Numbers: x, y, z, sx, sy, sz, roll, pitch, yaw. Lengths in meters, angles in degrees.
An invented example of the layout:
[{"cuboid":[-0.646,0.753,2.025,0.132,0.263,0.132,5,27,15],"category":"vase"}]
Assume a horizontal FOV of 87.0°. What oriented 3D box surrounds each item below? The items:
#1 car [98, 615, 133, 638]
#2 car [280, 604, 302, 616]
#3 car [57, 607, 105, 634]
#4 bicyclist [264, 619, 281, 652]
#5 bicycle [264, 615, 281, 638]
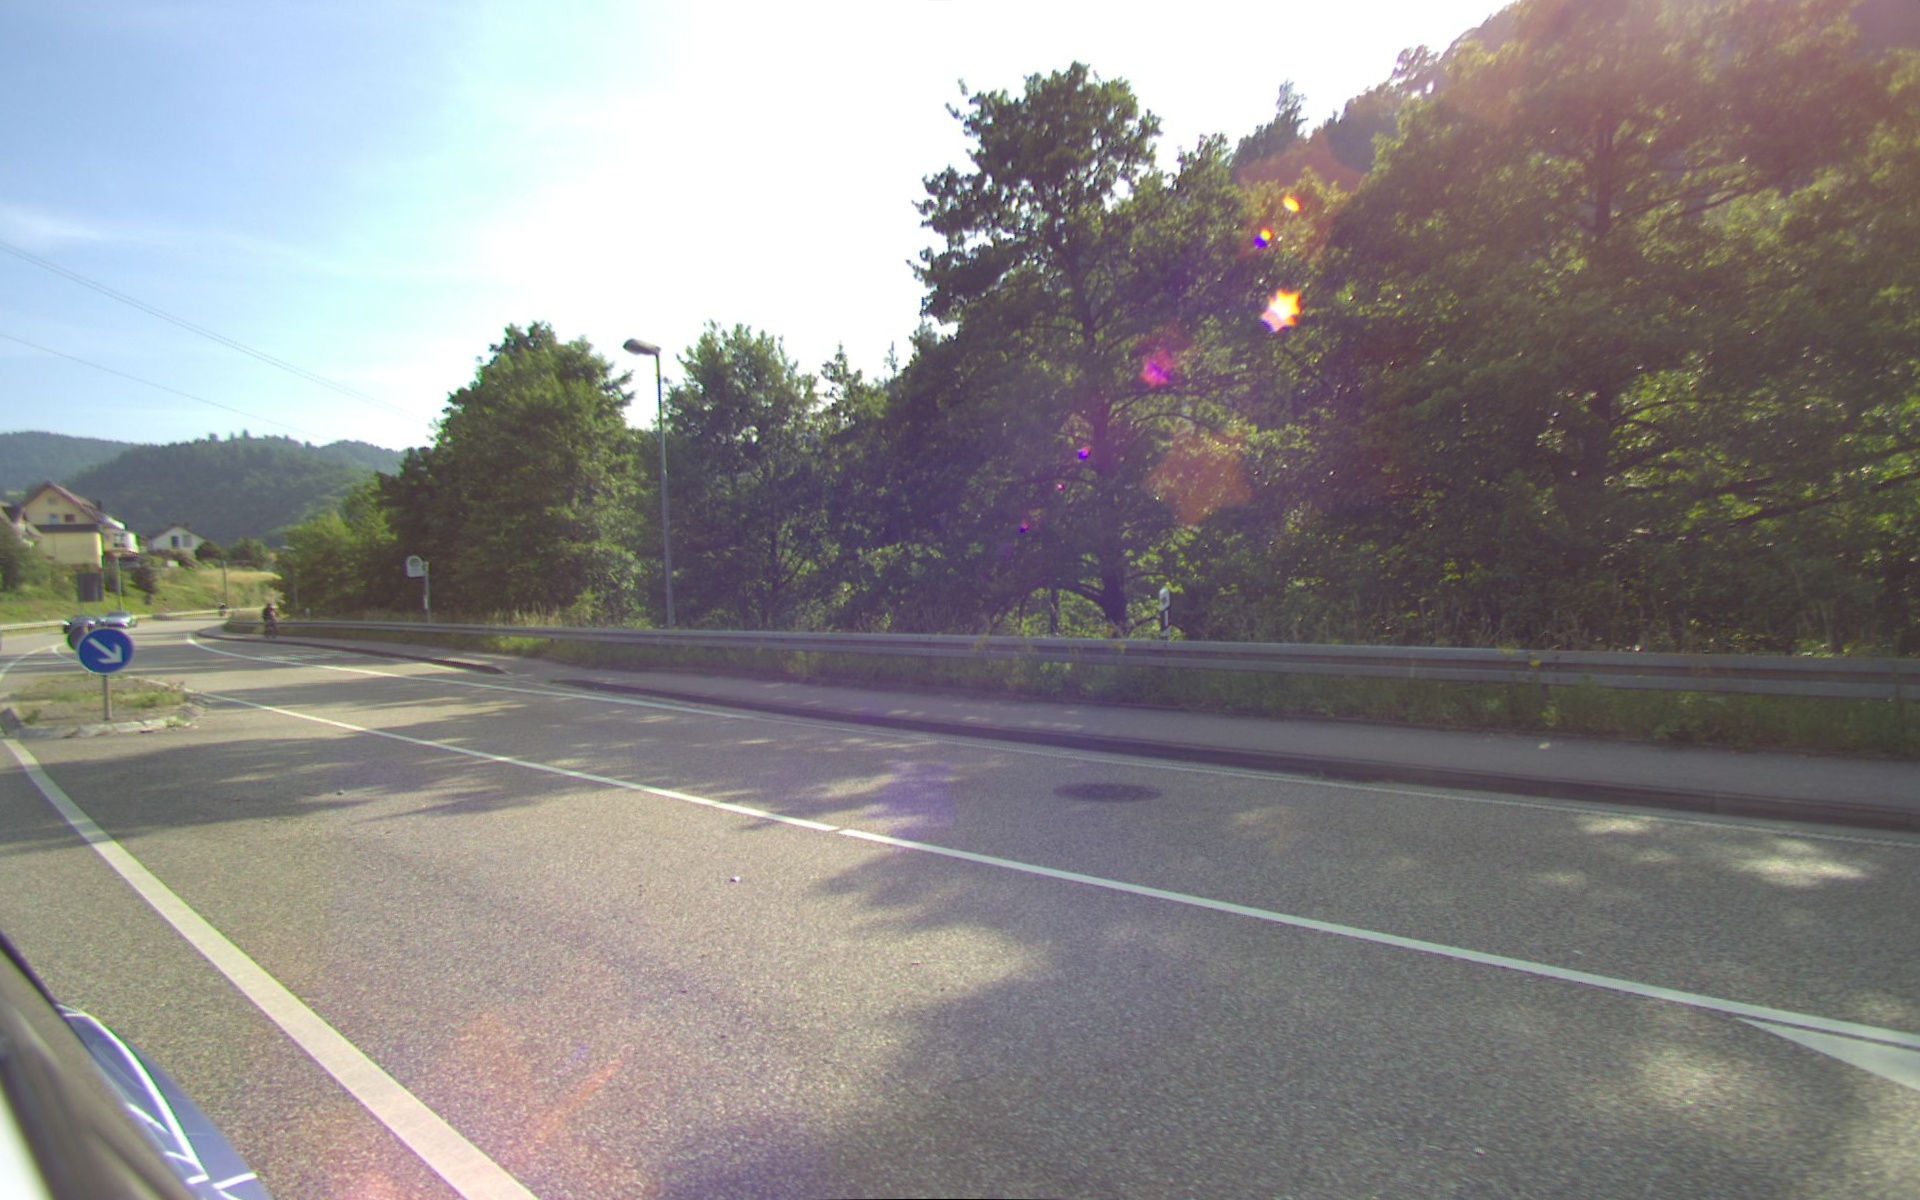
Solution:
[{"cuboid":[-69.402,2.172,83.190,1.855,1.758,4.189,-1,0,-35],"category":"car"},{"cuboid":[-92.624,1.345,140.107,1.864,1.499,4.013,-2,2,-23],"category":"car"},{"cuboid":[-61.725,1.425,71.098,1.854,1.758,4.191,-1,0,-32],"category":"car"},{"cuboid":[-34.576,1.765,50.878,0.550,1.598,1.038,-6,2,-35],"category":"bicyclist"},{"cuboid":[-34.533,1.342,50.809,0.550,1.053,2.234,-6,2,-36],"category":"bicycle"}]
